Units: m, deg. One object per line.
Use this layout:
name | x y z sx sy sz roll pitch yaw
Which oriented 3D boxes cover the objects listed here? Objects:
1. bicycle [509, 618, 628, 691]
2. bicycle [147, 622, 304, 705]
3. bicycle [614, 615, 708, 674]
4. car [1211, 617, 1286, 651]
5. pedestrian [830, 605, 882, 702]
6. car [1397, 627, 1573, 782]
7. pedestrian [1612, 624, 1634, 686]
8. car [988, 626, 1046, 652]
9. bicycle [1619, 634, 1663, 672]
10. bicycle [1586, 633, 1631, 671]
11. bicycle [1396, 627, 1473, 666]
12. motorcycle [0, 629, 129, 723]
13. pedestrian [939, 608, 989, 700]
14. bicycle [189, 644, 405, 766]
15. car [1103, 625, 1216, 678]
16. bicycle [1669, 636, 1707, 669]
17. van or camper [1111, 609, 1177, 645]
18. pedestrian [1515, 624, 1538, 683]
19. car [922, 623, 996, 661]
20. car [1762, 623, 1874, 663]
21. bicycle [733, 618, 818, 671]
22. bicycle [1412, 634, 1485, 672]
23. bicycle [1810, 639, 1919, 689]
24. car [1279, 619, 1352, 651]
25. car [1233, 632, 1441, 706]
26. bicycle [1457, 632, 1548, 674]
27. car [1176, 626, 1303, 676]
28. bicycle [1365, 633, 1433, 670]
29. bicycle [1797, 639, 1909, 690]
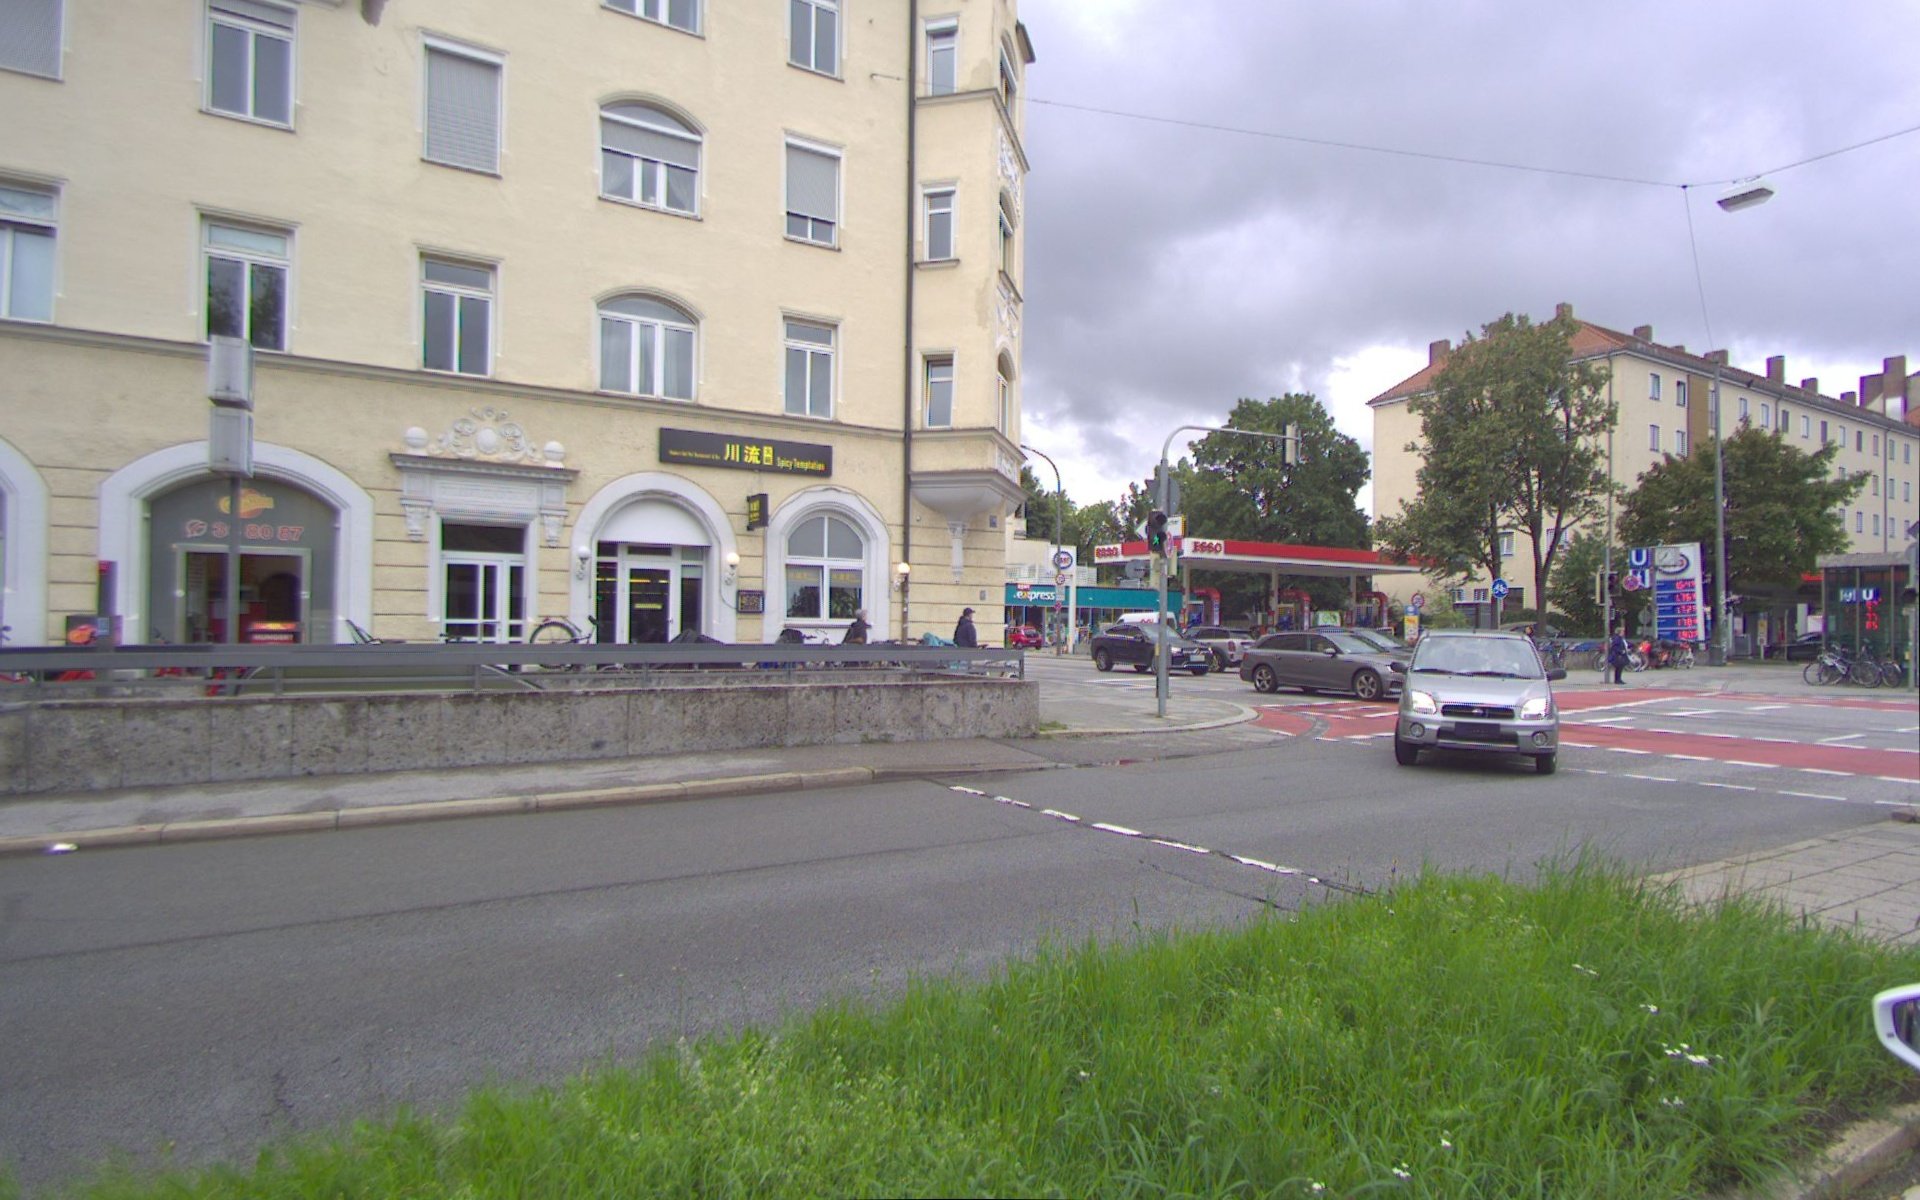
bicycle | -5.571 0.764 14.318 1.527 0.993 0.470 1 -1 -30
bicycle | -9.189 0.781 12.626 1.527 0.993 0.470 1 -1 -30
bicycle | -5.260 0.778 17.708 1.527 0.993 0.470 1 -1 -30
car | 16.297 1.901 56.936 1.836 1.808 3.968 1 -1 -30
pedestrian | -1.871 0.951 18.136 0.762 1.719 0.540 1 -1 -33
car | 6.287 1.106 12.142 1.633 1.537 3.626 0 -1 27
pedestrian | 18.824 1.549 28.525 0.527 1.717 0.575 0 -1 34
car | 3.690 2.487 65.364 1.848 1.598 3.967 1 -1 -31
bicycle | 23.450 1.801 34.566 2.167 1.252 0.603 1 -1 -37
bicycle | 22.428 1.788 34.720 2.167 1.252 0.603 1 -1 -37
bicycle | 16.974 1.649 36.002 0.785 1.267 2.374 2 0 -40
motorcycle | -12.059 0.971 13.205 1.947 1.137 0.610 1 -1 10
pedestrian | 0.080 1.021 19.276 0.927 1.719 0.593 1 -1 1
bicycle | -6.731 1.031 10.266 1.798 1.130 0.392 1 -1 -39
car | 6.232 1.588 31.668 1.677 1.534 3.308 1 -1 -32
bicycle | 26.801 1.928 36.965 1.947 1.160 0.603 1 -1 -37
van or camper | 12.533 1.848 68.675 1.898 2.354 4.511 1 -1 -32
pedestrian | 16.758 1.568 29.738 0.581 1.717 0.576 0 -1 29
car | -0.059 1.789 43.023 1.677 1.534 3.308 1 -1 -32
car | 43.277 2.134 50.756 1.860 1.862 3.965 1 -1 -32
bicycle | -3.507 0.842 19.172 1.527 0.993 0.470 1 -1 -30
bicycle | 16.917 1.816 34.803 0.760 1.252 2.161 1 -1 -41
bicycle | 25.879 1.810 28.772 0.685 1.322 2.275 1 -1 -28
car | 21.511 2.103 60.980 1.836 1.808 3.968 1 -1 -30
car | 8.283 1.457 22.446 1.645 1.430 4.293 1 -1 -31
bicycle | 18.457 1.788 34.236 2.664 1.267 0.792 2 0 30
car | 9.286 1.652 33.702 1.676 1.534 4.148 1 -1 -30
bicycle | 15.901 1.851 36.444 0.759 1.252 2.162 1 -1 -39
bicycle | 25.206 1.791 28.398 0.695 1.322 2.262 1 -1 -28
